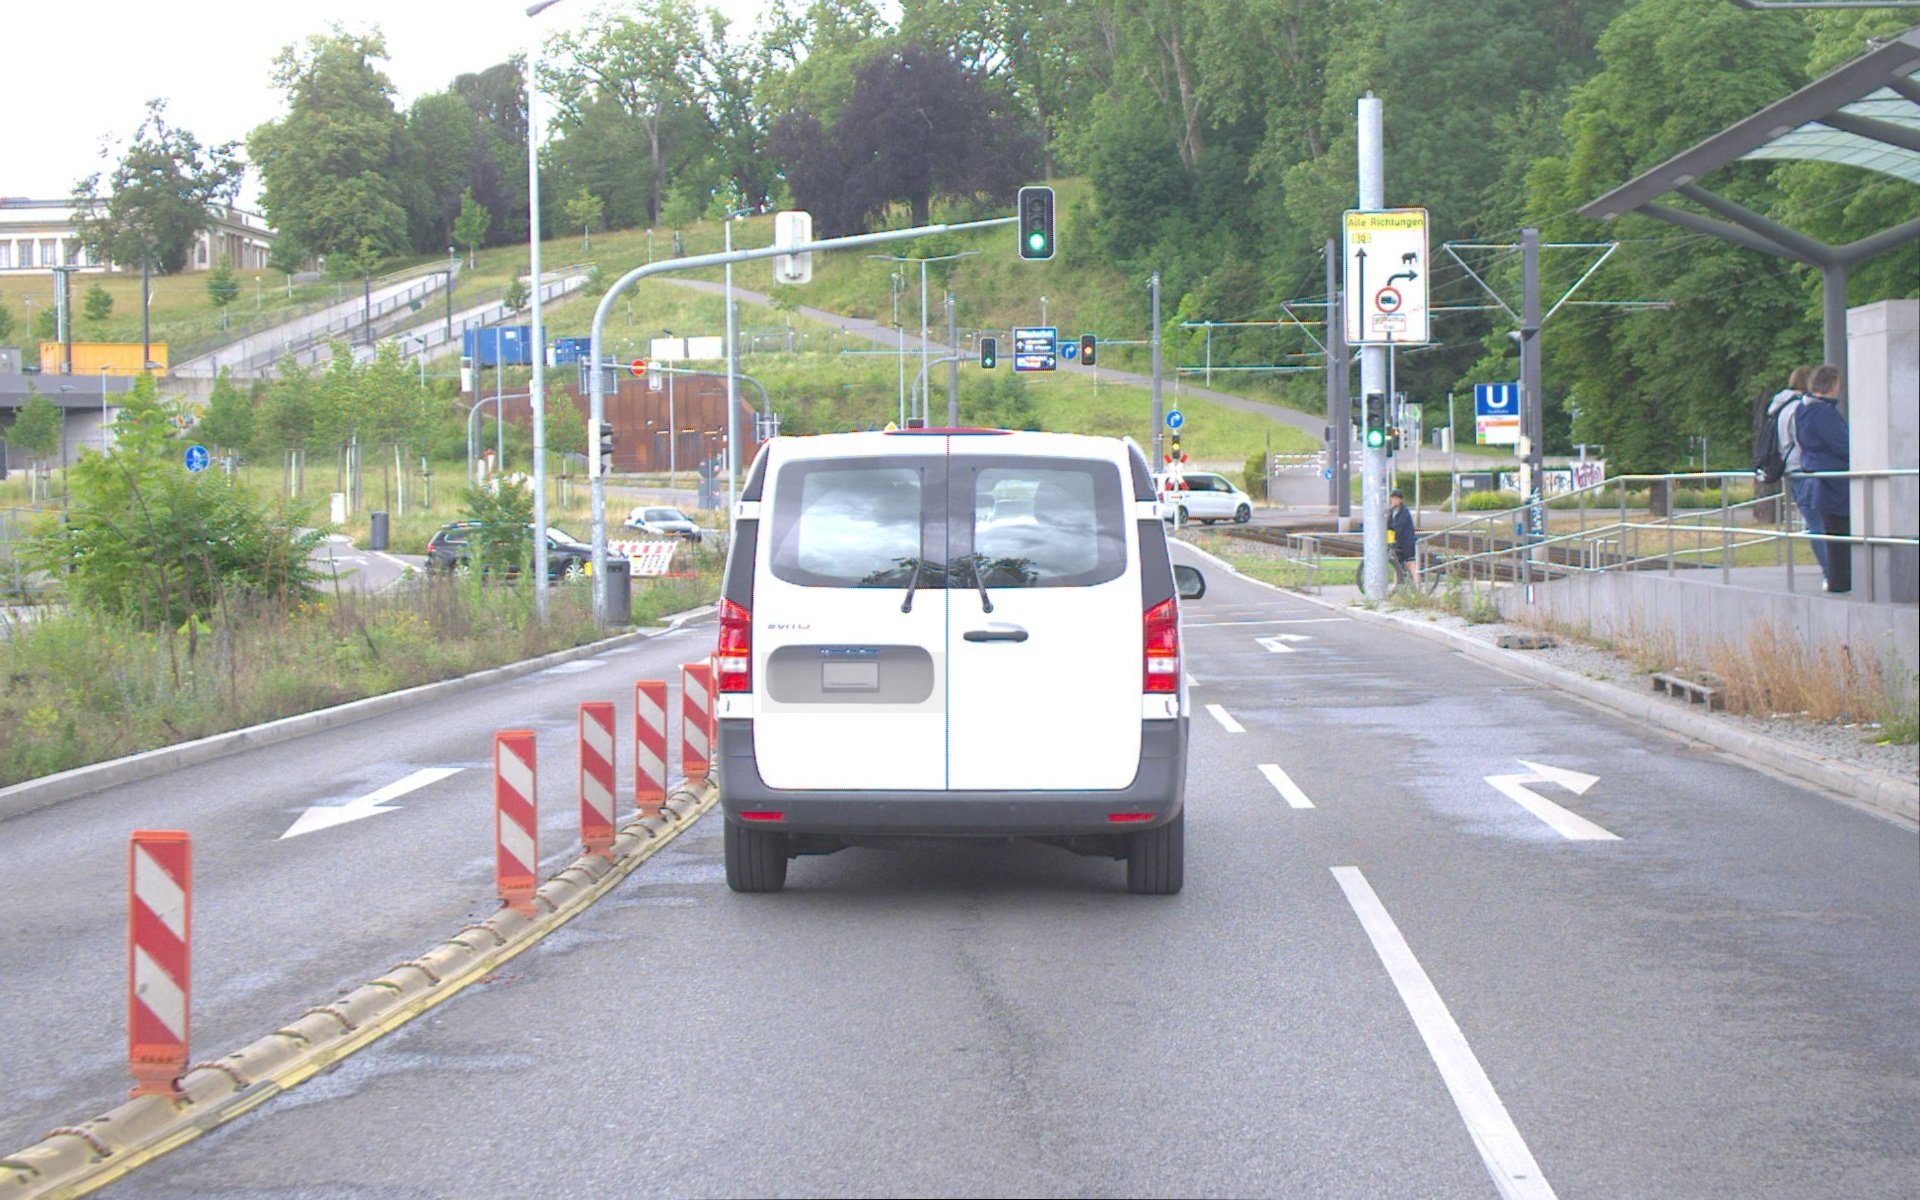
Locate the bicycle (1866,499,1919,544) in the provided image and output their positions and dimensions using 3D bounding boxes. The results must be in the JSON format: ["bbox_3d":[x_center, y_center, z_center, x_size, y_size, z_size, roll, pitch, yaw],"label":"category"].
[{"bbox_3d":[21.403,-1.784,77.289,1.912,0.972,0.531,-1,2,2],"label":"bicycle"}]

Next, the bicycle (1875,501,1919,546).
[{"bbox_3d":[21.349,-1.710,76.352,1.912,0.972,0.531,-1,2,2],"label":"bicycle"}]

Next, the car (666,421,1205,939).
[{"bbox_3d":[0.060,0.235,15.057,1.959,1.897,4.461,1,2,4],"label":"car"}]

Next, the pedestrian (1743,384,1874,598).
[{"bbox_3d":[6.310,-0.825,25.600,0.750,1.548,0.775,2,3,3],"label":"pedestrian"}]

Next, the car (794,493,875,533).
[{"bbox_3d":[-5.315,-3.692,145.567,1.937,1.621,4.001,-1,2,-27],"label":"car"}]

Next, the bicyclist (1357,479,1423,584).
[{"bbox_3d":[6.544,-1.046,52.316,0.804,1.566,0.618,-3,4,-38],"label":"bicyclist"}]

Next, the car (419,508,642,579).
[{"bbox_3d":[-9.974,-1.311,79.945,4.711,1.472,1.999,-1,3,12],"label":"car"}]

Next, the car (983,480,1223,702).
[{"bbox_3d":[1.143,-0.128,29.182,1.838,1.723,4.063,1,2,0],"label":"car"}]

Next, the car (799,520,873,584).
[{"bbox_3d":[-3.055,-1.213,85.313,1.591,1.512,4.085,-1,1,1],"label":"car"}]

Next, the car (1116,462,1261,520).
[{"bbox_3d":[8.145,-3.865,122.276,5.137,2.006,2.207,-1,2,-42],"label":"car"}]

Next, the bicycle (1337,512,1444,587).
[{"bbox_3d":[6.558,-0.780,52.336,1.679,1.070,0.620,-3,4,-38],"label":"bicycle"}]

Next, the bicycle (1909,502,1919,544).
[{"bbox_3d":[21.614,-1.697,74.582,1.912,0.892,0.531,-1,2,2],"label":"bicycle"}]

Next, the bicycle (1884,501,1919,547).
[{"bbox_3d":[21.384,-1.692,75.704,1.912,0.972,0.531,-1,2,2],"label":"bicycle"}]

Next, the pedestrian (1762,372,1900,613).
[{"bbox_3d":[6.280,-0.787,24.827,0.770,1.693,0.731,2,3,3],"label":"pedestrian"}]
